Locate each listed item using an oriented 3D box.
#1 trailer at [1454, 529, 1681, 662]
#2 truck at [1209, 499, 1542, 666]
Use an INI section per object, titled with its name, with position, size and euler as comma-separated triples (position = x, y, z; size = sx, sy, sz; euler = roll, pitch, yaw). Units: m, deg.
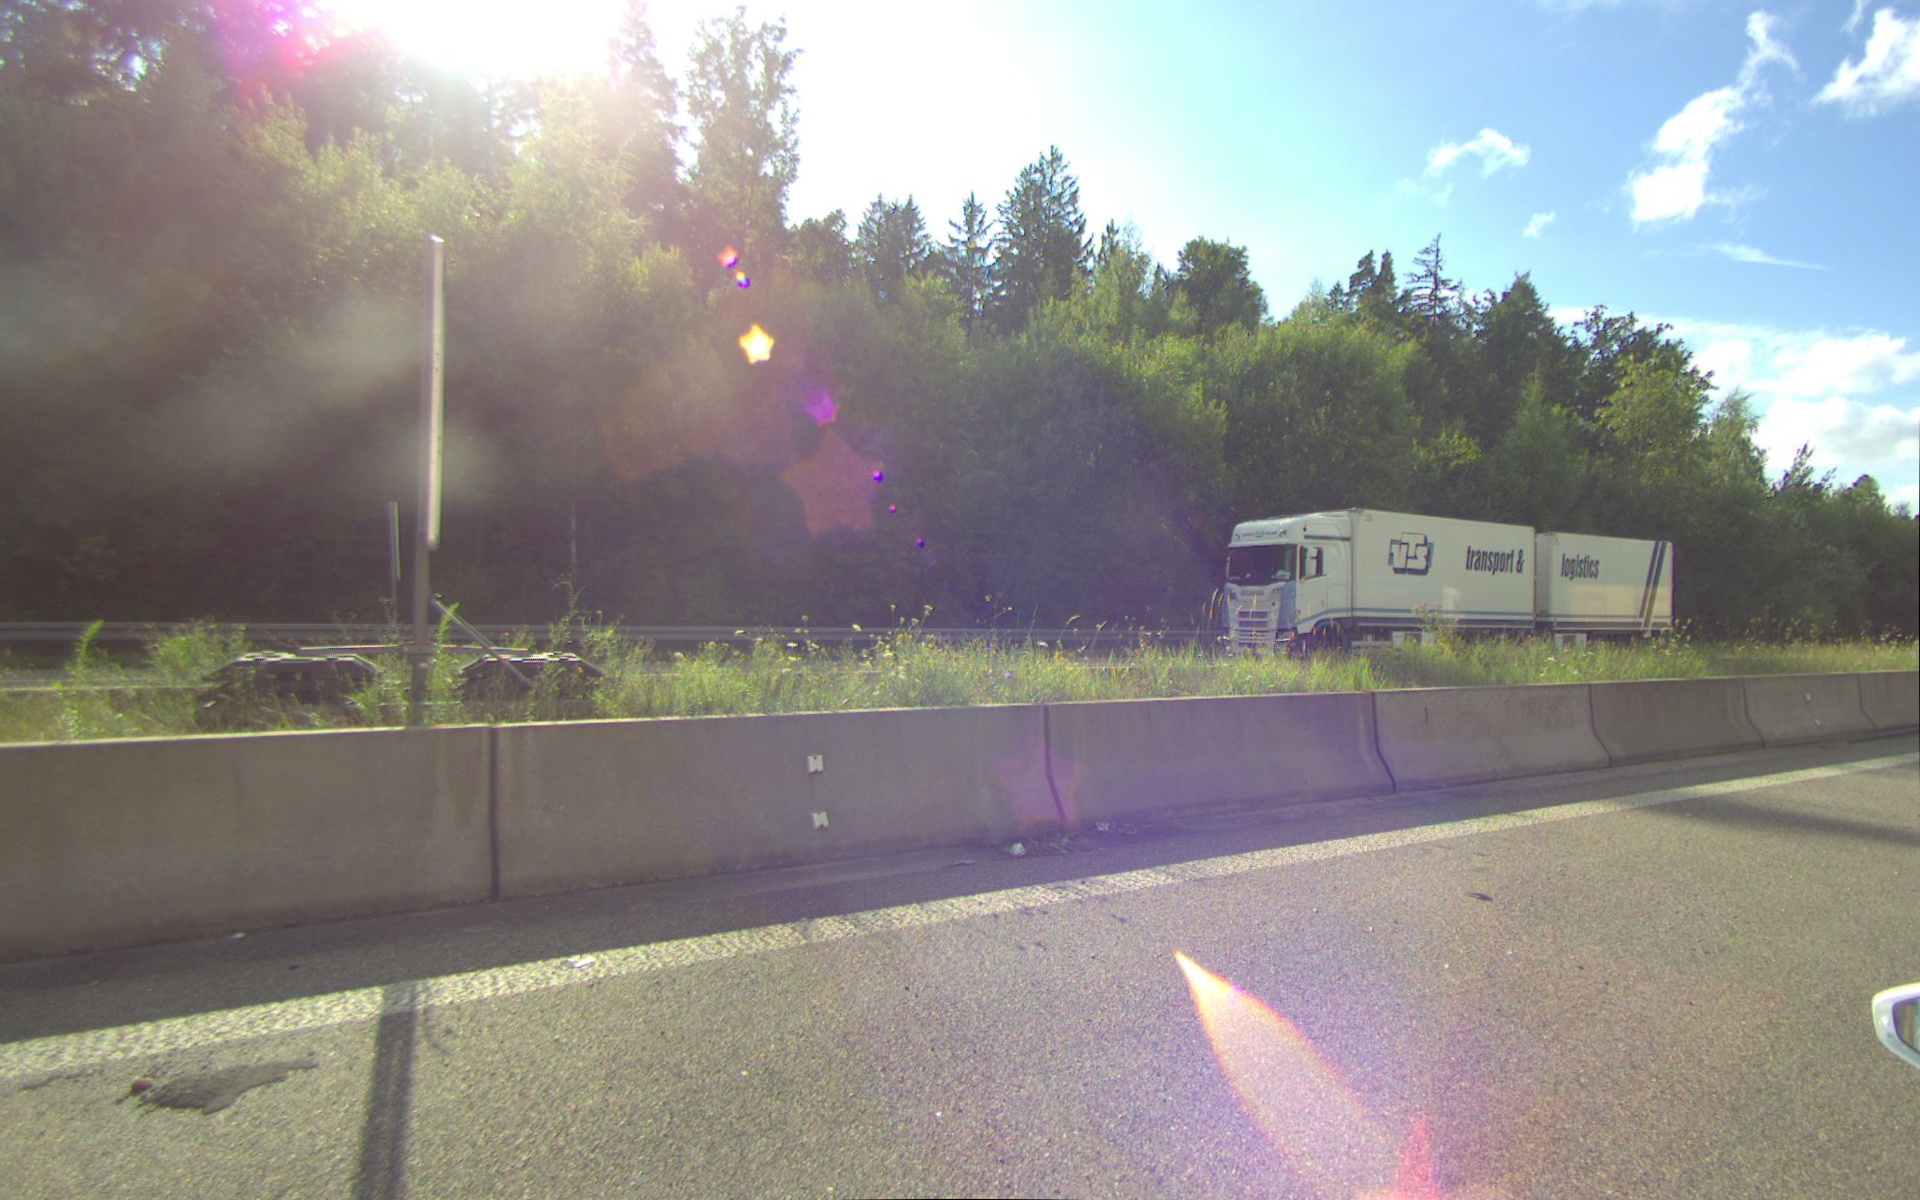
[trailer]
position = 20.191, -0.025, 33.206
size = 8.391, 3.975, 2.776
euler = 2, 0, -31
[truck]
position = 11.942, -0.291, 28.244
size = 10.738, 4.038, 2.768
euler = 2, 0, -31
